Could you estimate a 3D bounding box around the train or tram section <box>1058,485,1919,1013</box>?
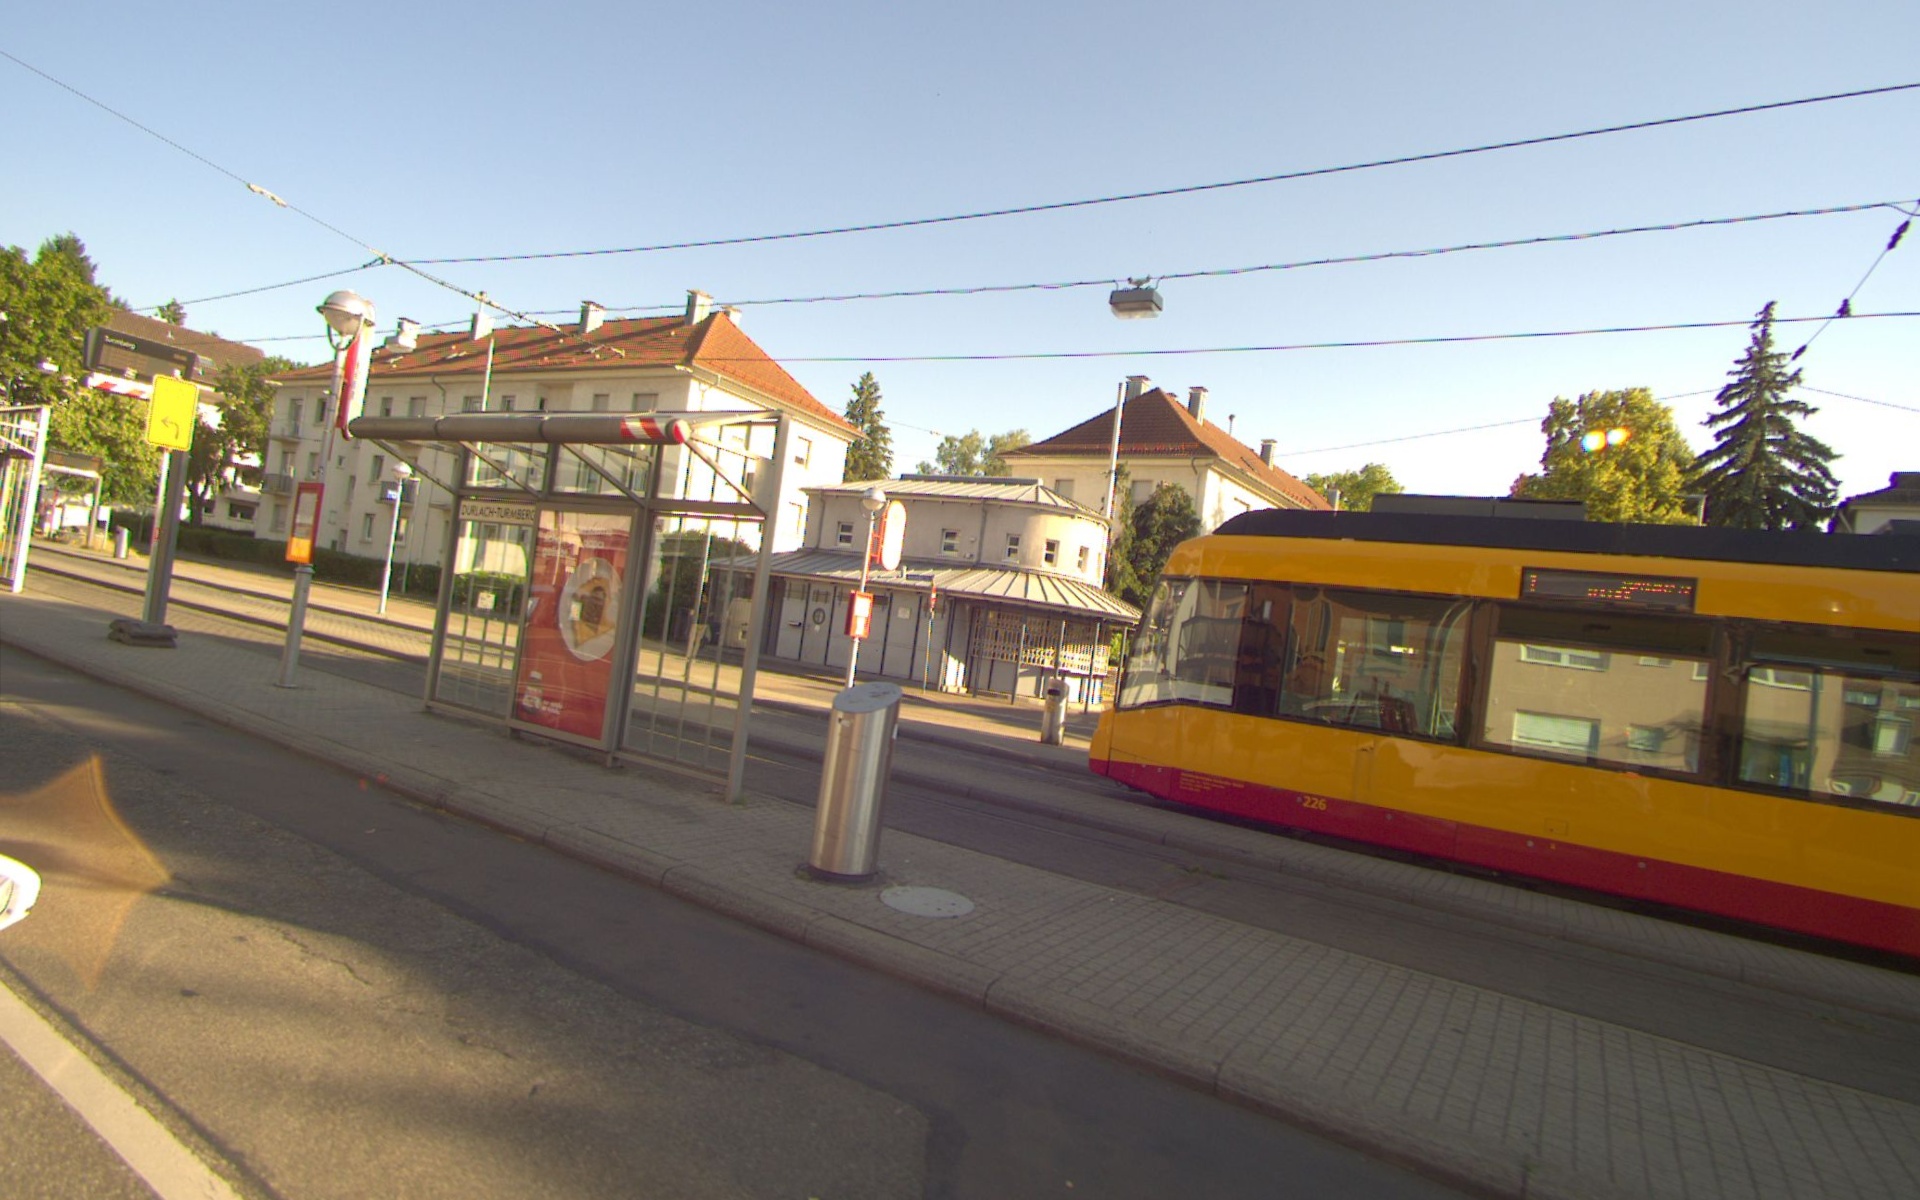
[{"bbox_3d":[8.616,1.338,7.714,15.707,3.575,2.962,5,-2,32],"label":"train or tram section"}]
